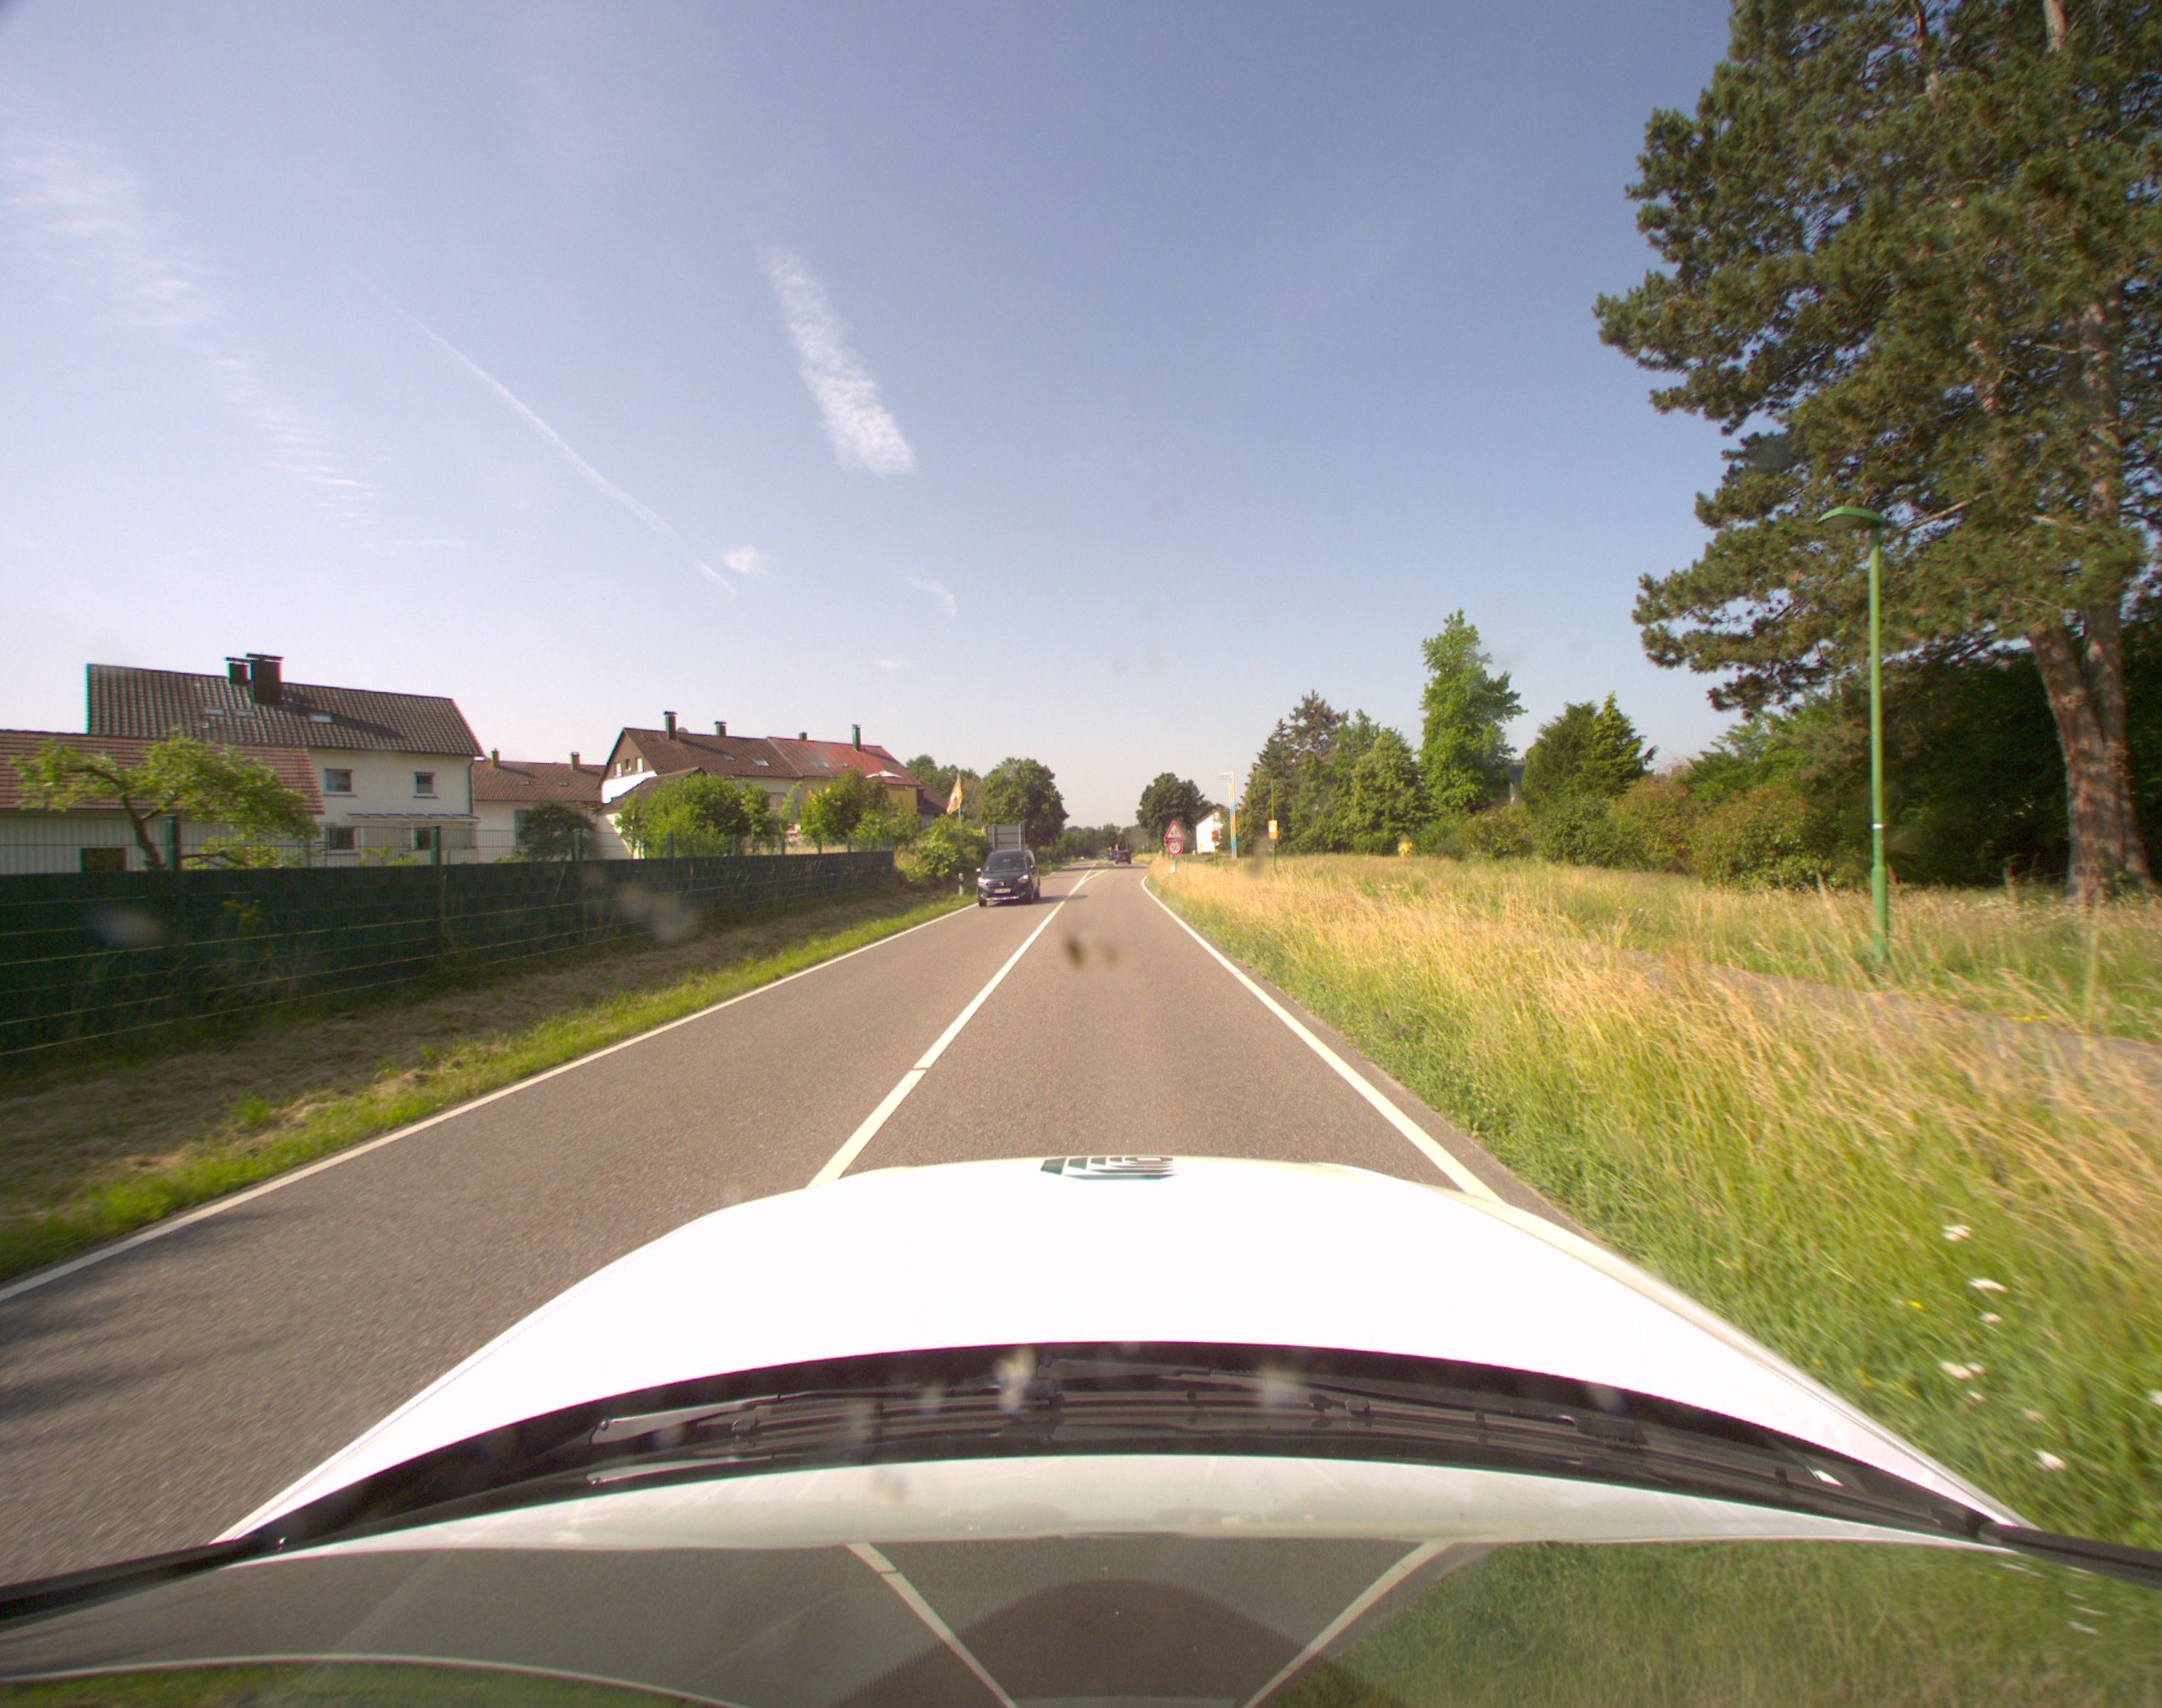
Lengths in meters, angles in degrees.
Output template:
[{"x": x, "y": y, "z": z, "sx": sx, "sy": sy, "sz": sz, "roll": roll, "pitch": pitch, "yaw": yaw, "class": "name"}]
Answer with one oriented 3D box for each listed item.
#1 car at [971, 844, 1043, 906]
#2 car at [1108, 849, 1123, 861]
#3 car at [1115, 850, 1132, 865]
[{"x": -2.367, "y": 0.641, "z": 27.185, "sx": 1.933, "sy": 1.817, "sz": 4.241, "roll": -3, "pitch": 0, "yaw": 0, "class": "car"}, {"x": 5.466, "y": 0.124, "z": 128.427, "sx": 1.999, "sy": 1.771, "sz": 3.997, "roll": -2, "pitch": 0, "yaw": -2, "class": "car"}, {"x": 5.394, "y": 0.384, "z": 103.601, "sx": 1.919, "sy": 1.771, "sz": 3.999, "roll": -2, "pitch": 0, "yaw": -1, "class": "car"}]
